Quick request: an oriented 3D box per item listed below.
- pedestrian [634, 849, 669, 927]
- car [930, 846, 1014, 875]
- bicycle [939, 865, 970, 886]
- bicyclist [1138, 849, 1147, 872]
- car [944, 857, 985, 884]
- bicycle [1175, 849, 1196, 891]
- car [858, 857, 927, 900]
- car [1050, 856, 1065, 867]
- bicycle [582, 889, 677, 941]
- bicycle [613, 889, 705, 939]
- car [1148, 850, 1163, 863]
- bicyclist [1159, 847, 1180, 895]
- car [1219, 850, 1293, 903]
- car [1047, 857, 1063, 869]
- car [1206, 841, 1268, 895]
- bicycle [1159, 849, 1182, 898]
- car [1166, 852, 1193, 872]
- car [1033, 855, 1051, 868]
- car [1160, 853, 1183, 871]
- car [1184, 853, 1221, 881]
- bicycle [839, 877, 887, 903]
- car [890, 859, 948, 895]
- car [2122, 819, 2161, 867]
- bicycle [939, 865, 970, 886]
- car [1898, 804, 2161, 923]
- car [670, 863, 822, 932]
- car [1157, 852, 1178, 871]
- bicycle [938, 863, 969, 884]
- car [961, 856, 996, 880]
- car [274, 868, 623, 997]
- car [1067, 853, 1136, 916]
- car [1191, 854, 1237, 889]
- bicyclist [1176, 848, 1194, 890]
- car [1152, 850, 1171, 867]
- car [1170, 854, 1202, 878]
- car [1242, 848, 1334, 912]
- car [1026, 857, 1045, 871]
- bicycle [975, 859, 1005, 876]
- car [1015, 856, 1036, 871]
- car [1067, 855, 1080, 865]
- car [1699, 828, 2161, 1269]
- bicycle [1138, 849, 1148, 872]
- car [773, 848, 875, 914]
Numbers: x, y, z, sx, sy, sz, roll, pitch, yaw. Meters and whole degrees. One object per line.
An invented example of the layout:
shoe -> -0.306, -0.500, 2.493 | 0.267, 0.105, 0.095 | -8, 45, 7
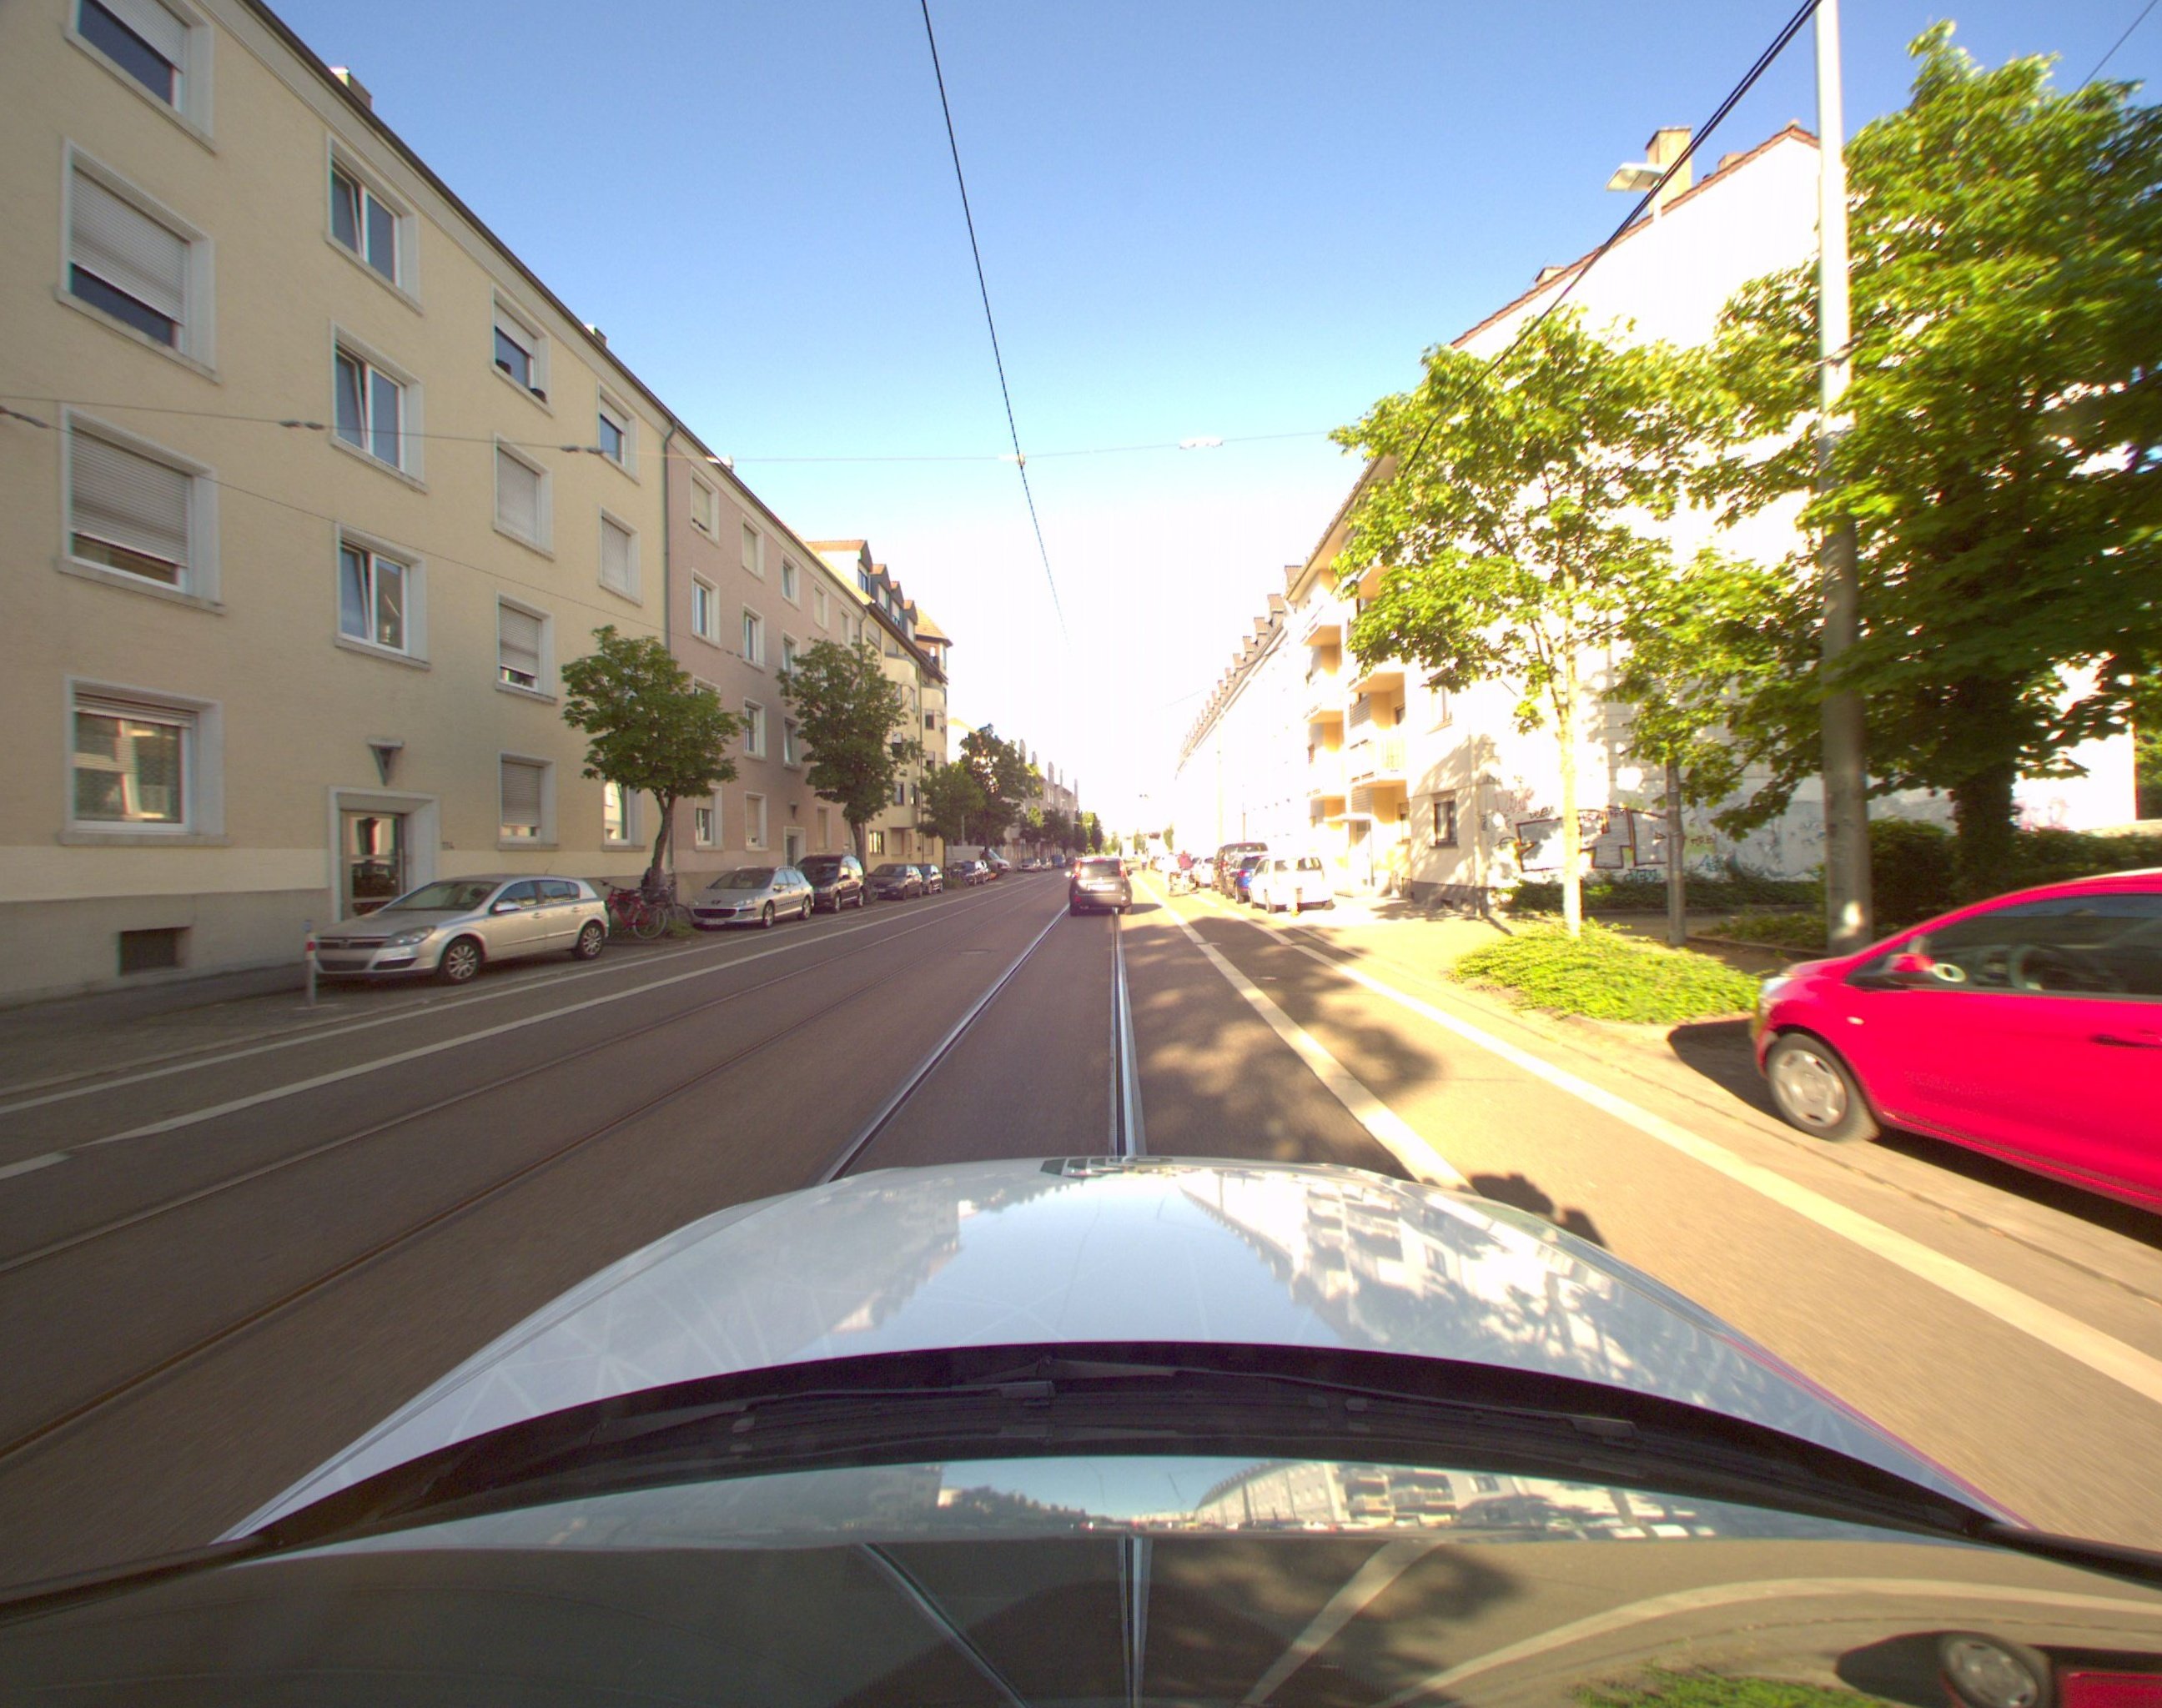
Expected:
pedestrian -> -10.281, 0.805, 19.502 | 0.534, 1.826, 0.543 | 0, 0, 2
car -> -9.367, 0.577, 70.178 | 6.855, 2.403, 2.183 | 0, 0, 12
bicycle -> -7.328, 1.260, 47.296 | 1.724, 1.196, 0.372 | 0, 0, -2
bicyclist -> 5.361, 0.588, 70.875 | 0.712, 2.013, 0.832 | 0, 0, 1
car -> -7.091, 0.983, 49.754 | 1.828, 1.556, 4.001 | 0, 0, 1
bicycle -> 4.474, 0.648, 35.066 | 0.672, 1.747, 2.158 | 0, 0, 1
car -> -7.773, 0.970, 33.939 | 1.801, 1.619, 4.066 | 0, 0, 2
car -> -3.259, 1.039, 112.396 | 1.700, 1.496, 3.725 | 0, 0, 3
bicycle -> -9.006, 1.206, 16.259 | 1.658, 1.001, 0.477 | 0, 0, 5
bicycle -> -8.993, 1.265, 17.386 | 1.666, 1.001, 0.475 | 0, 0, -9
car -> 9.010, 0.281, 98.632 | 1.577, 1.599, 3.377 | 0, 0, 1
bicyclist -> 3.290, 0.631, 30.357 | 0.696, 1.759, 0.758 | 0, 0, 1
car -> 5.550, 0.685, 26.257 | 1.649, 1.571, 3.877 | 0, 0, 2
car -> -3.413, 1.137, 107.246 | 1.700, 1.496, 3.725 | 0, 0, 3
car -> 5.947, 0.497, 31.509 | 1.649, 1.944, 4.666 | 0, 0, 2
bicycle -> 3.309, 0.690, 30.281 | 0.672, 1.747, 2.158 | 0, 0, 1
car -> 6.978, 0.570, 58.034 | 1.577, 1.405, 3.377 | 0, 0, 1
car -> -4.703, 0.934, 98.429 | 1.700, 1.496, 3.725 | 0, 0, 3
car -> 7.347, 0.620, 66.422 | 1.577, 1.405, 3.377 | 0, 0, 1
car -> 6.431, 0.669, 43.394 | 1.577, 1.405, 3.377 | 0, 0, 1
bicycle -> -8.051, 1.330, 30.091 | 1.627, 0.937, 0.516 | 0, 0, -2
car -> -7.708, 1.074, 39.139 | 1.801, 1.619, 4.066 | 0, 0, 2
car -> 35.548, -0.428, 25.300 | 3.974, 1.486, 1.894 | -2, 0, 0
bicycle -> -7.301, 1.214, 46.880 | 1.724, 1.196, 0.372 | 0, 0, -2
car -> 15.118, 0.120, 12.074 | 4.136, 1.624, 1.893 | 0, 0, 0
car -> -8.349, 1.005, 20.823 | 1.801, 1.508, 4.683 | 0, 0, 2
car -> 7.480, 0.650, 70.779 | 1.577, 1.599, 3.377 | 0, 0, 1
bicycle -> -7.267, 1.104, 46.484 | 1.724, 1.196, 0.372 | 0, 0, -2
car -> -6.883, 0.930, 55.101 | 1.828, 1.556, 3.378 | 0, 0, 1
car -> -8.977, 1.007, 12.129 | 1.801, 1.508, 4.193 | 0, 0, 2
car -> 0.638, 0.762, 22.300 | 1.642, 1.541, 4.240 | 0, 0, 4
car -> 5.969, 0.738, 36.799 | 1.649, 1.500, 3.131 | 0, 0, 2
bicyclist -> 4.461, 0.639, 35.062 | 0.696, 1.759, 0.758 | 0, 0, 1
car -> 7.718, 0.455, 78.472 | 1.577, 1.599, 3.377 | 0, 0, 1
car -> 6.787, 0.747, 52.797 | 1.577, 1.405, 3.377 | -5, 0, 1
car -> 5.433, 0.635, 21.746 | 1.649, 1.571, 3.500 | 0, 0, 2
car -> -5.225, 1.150, 93.607 | 1.700, 1.496, 3.725 | 0, 0, 3
bicycle -> -7.153, 1.076, 63.864 | 2.270, 1.288, 0.757 | 0, 0, -3
car -> -5.678, 0.937, 84.130 | 1.700, 1.496, 3.725 | 0, 0, 3
car -> -1.197, 0.956, 128.128 | 1.700, 1.496, 3.725 | 0, 0, 3
car -> 4.648, 0.675, 3.358 | 1.629, 1.508, 3.399 | -4, 0, 2
bicycle -> 5.352, 0.555, 70.704 | 0.739, 2.013, 2.812 | 0, 0, 1
car -> -8.210, 0.809, 26.446 | 1.801, 1.943, 4.336 | 0, 0, 2
